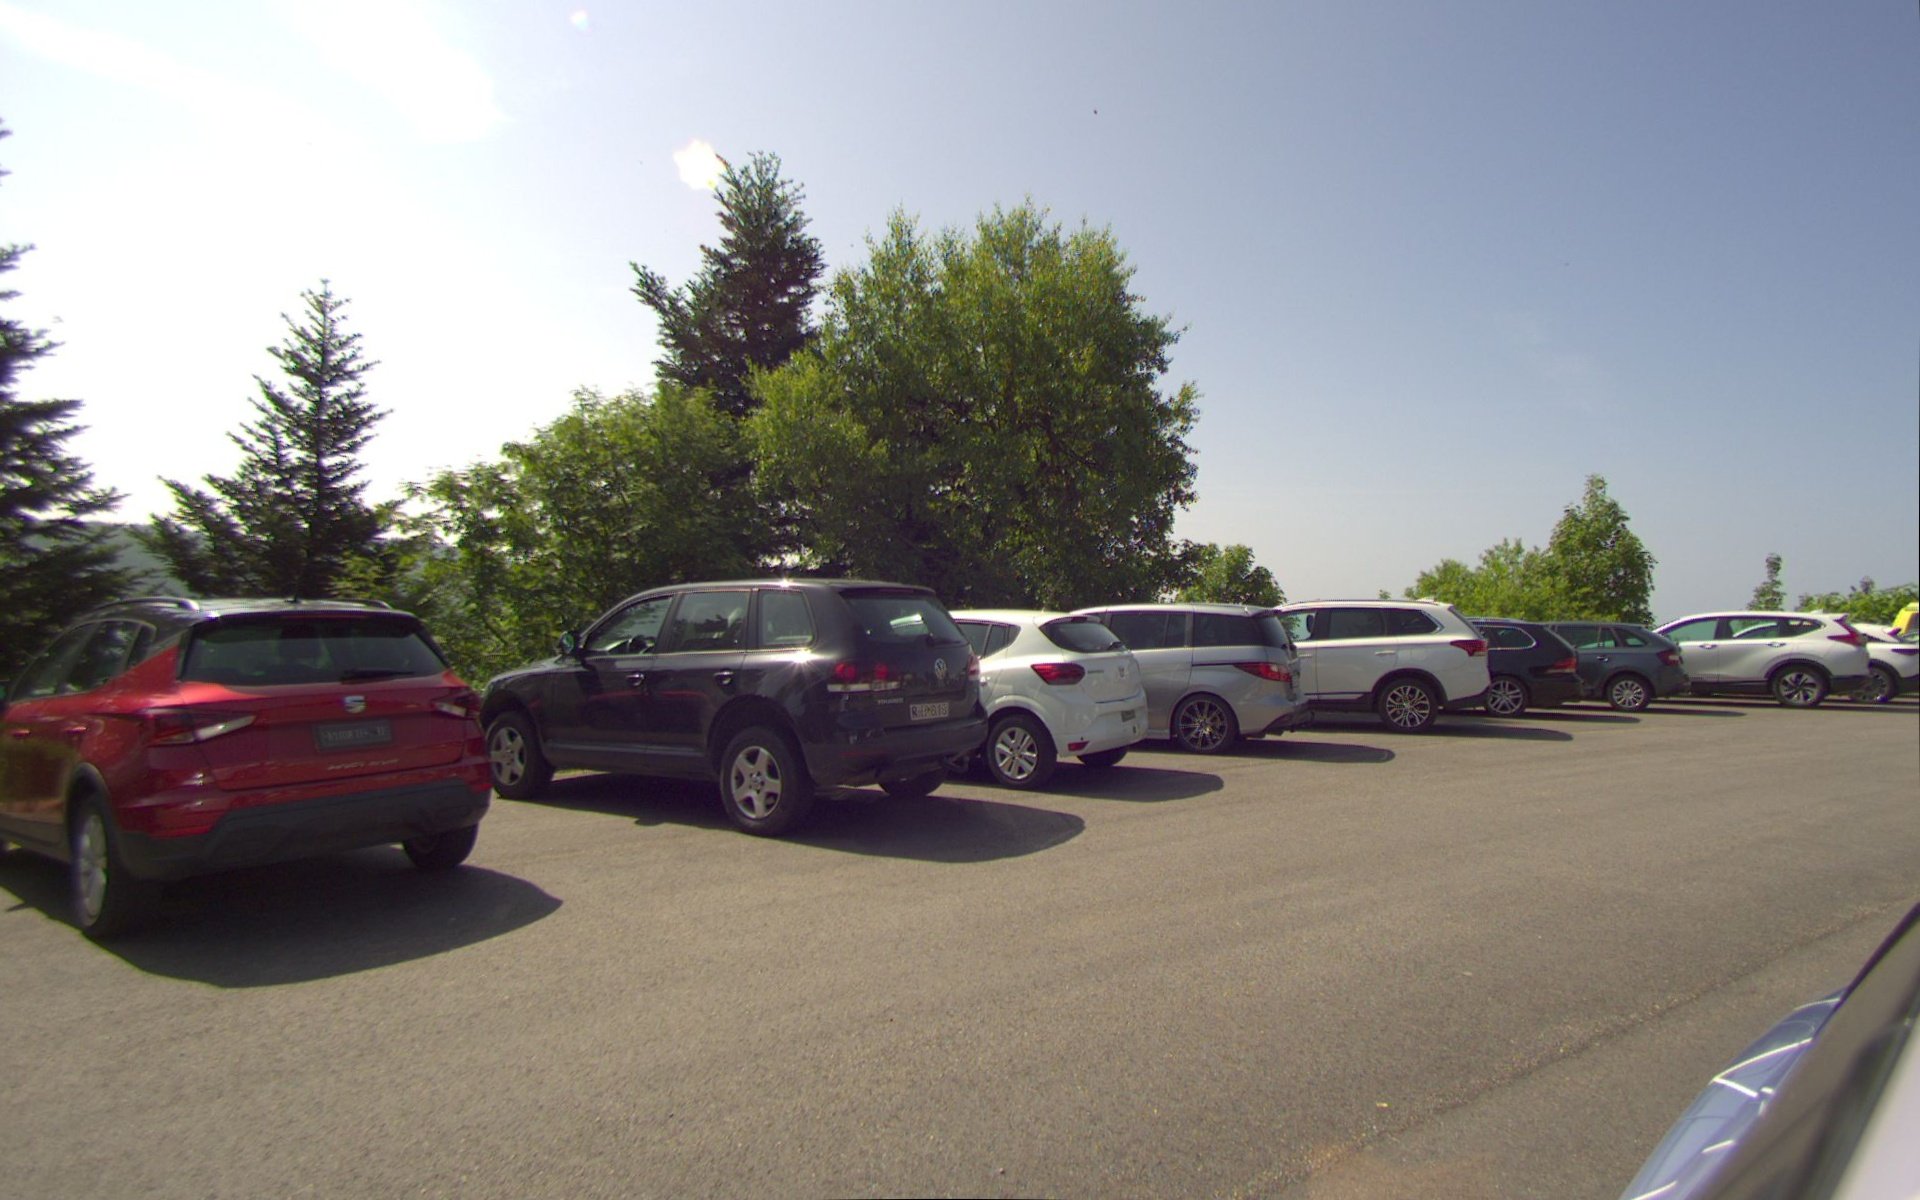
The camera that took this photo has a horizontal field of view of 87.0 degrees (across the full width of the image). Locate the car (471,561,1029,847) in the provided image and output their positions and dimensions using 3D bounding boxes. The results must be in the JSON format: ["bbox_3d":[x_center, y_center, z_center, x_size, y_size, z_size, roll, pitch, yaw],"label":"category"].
[{"bbox_3d":[-1.774,0.689,8.101,4.242,1.717,1.967,-2,-2,33],"label":"car"}]

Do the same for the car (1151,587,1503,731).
[{"bbox_3d":[4.837,0.731,13.671,4.177,1.716,1.849,0,-2,22],"label":"car"}]

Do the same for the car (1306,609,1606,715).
[{"bbox_3d":[7.734,0.923,15.968,4.018,1.480,1.874,-1,-2,31],"label":"car"}]

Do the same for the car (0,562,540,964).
[{"bbox_3d":[-4.443,0.713,6.007,3.975,1.610,1.839,-2,-2,37],"label":"car"}]

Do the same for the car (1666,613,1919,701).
[{"bbox_3d":[16.341,1.026,19.593,1.911,1.519,4.090,1,-1,-43],"label":"car"}]

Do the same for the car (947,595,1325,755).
[{"bbox_3d":[2.006,0.794,11.663,3.960,1.569,1.803,-1,-2,27],"label":"car"}]

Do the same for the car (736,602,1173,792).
[{"bbox_3d":[-0.143,0.809,9.826,3.972,1.495,1.746,-2,-1,35],"label":"car"}]

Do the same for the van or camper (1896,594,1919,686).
[{"bbox_3d":[23.061,0.842,20.897,1.843,2.040,5.113,2,-3,-26],"label":"van or camper"}]

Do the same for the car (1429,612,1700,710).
[{"bbox_3d":[10.174,0.987,17.164,3.784,1.478,1.640,-2,-3,37],"label":"car"}]

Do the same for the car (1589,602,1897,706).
[{"bbox_3d":[13.890,0.925,18.202,4.164,1.671,1.864,-2,-2,40],"label":"car"}]

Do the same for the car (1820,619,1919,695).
[{"bbox_3d":[20.163,1.141,20.093,1.776,1.507,4.366,3,-3,-32],"label":"car"}]
